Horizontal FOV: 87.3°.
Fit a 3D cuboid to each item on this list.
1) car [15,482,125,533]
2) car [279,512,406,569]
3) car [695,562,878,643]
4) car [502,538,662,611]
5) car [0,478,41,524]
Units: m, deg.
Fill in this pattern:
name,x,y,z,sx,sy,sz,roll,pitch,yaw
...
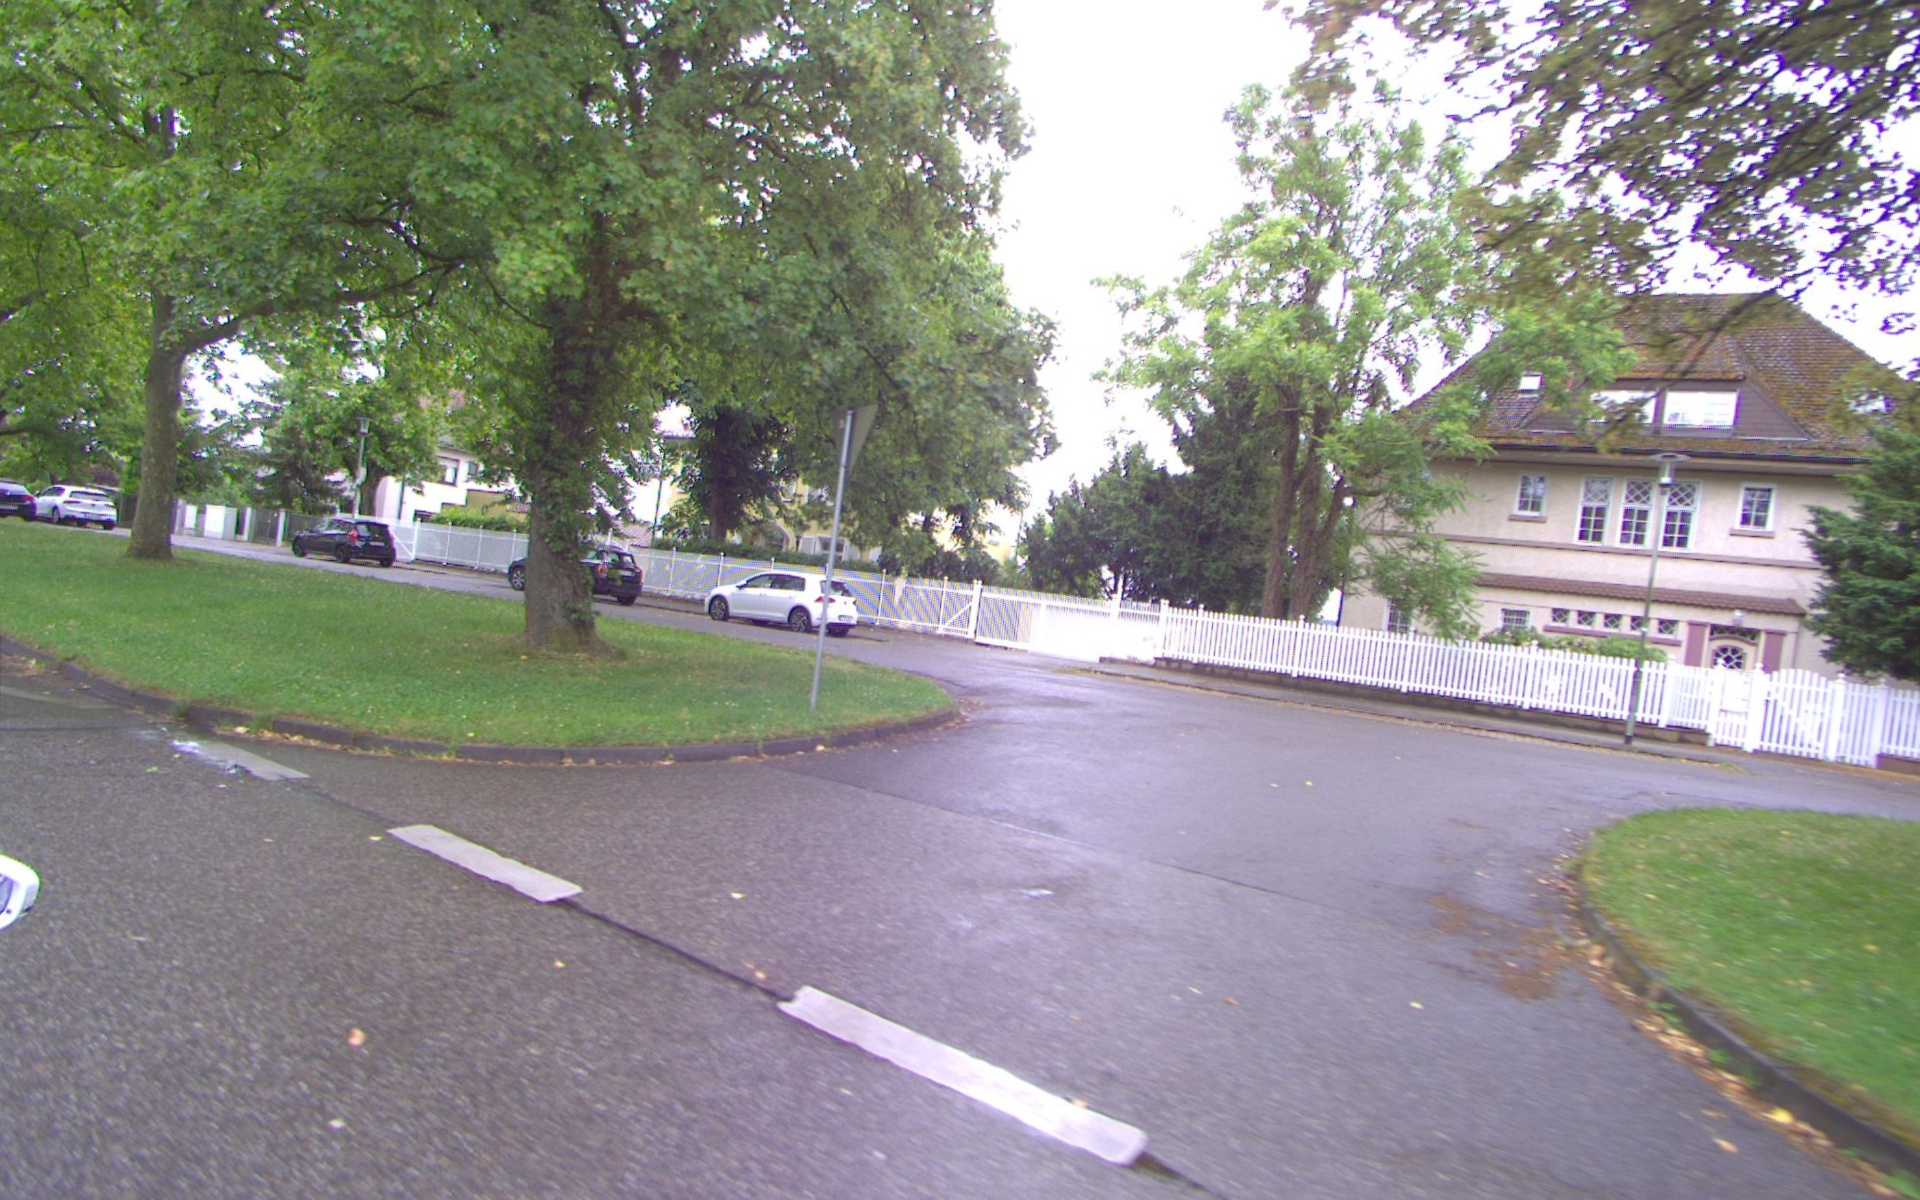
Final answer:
name,x,y,z,sx,sy,sz,roll,pitch,yaw
car,-34.066,-3.538,38.479,4.352,1.490,1.847,6,1,31
car,-21.273,-2.064,34.619,4.282,1.489,1.763,6,0,29
car,-4.381,0.051,25.370,4.053,1.465,1.999,6,-2,29
car,-10.769,-0.729,28.651,4.053,1.488,1.999,6,-2,29
car,-35.143,-3.695,36.254,4.522,1.490,1.765,6,1,32
